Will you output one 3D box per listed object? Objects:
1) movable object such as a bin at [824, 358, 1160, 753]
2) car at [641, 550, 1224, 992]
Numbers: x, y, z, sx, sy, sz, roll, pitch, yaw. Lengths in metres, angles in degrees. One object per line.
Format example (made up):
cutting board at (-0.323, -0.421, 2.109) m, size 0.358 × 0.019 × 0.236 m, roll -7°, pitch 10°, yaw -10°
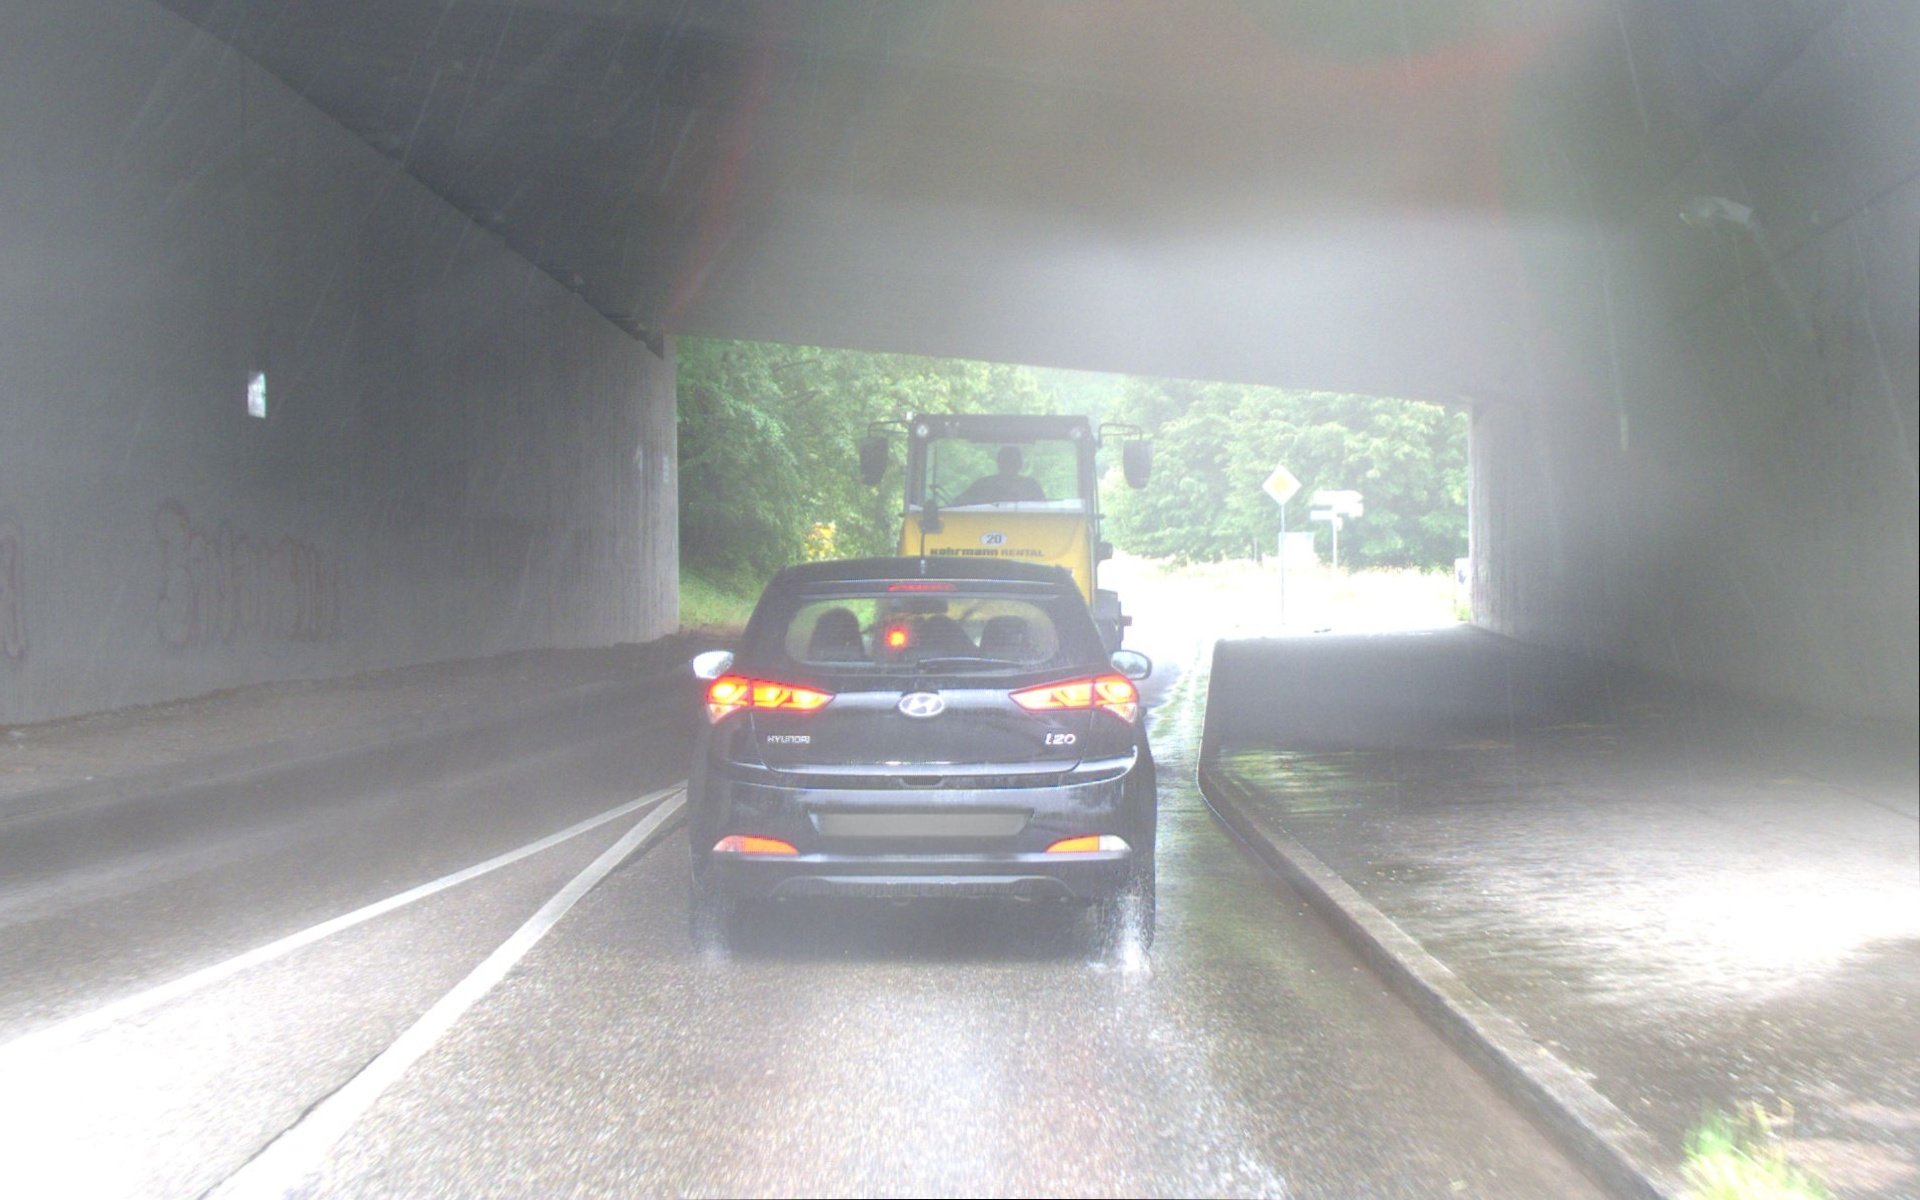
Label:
movable object such as a bin at (0.276, -0.346, 26.972) m, size 2.246 × 2.660 × 6.626 m, roll 2°, pitch 1°, yaw 1°
car at (-0.061, 0.569, 13.966) m, size 1.993 × 1.482 × 4.000 m, roll 2°, pitch 1°, yaw 1°
